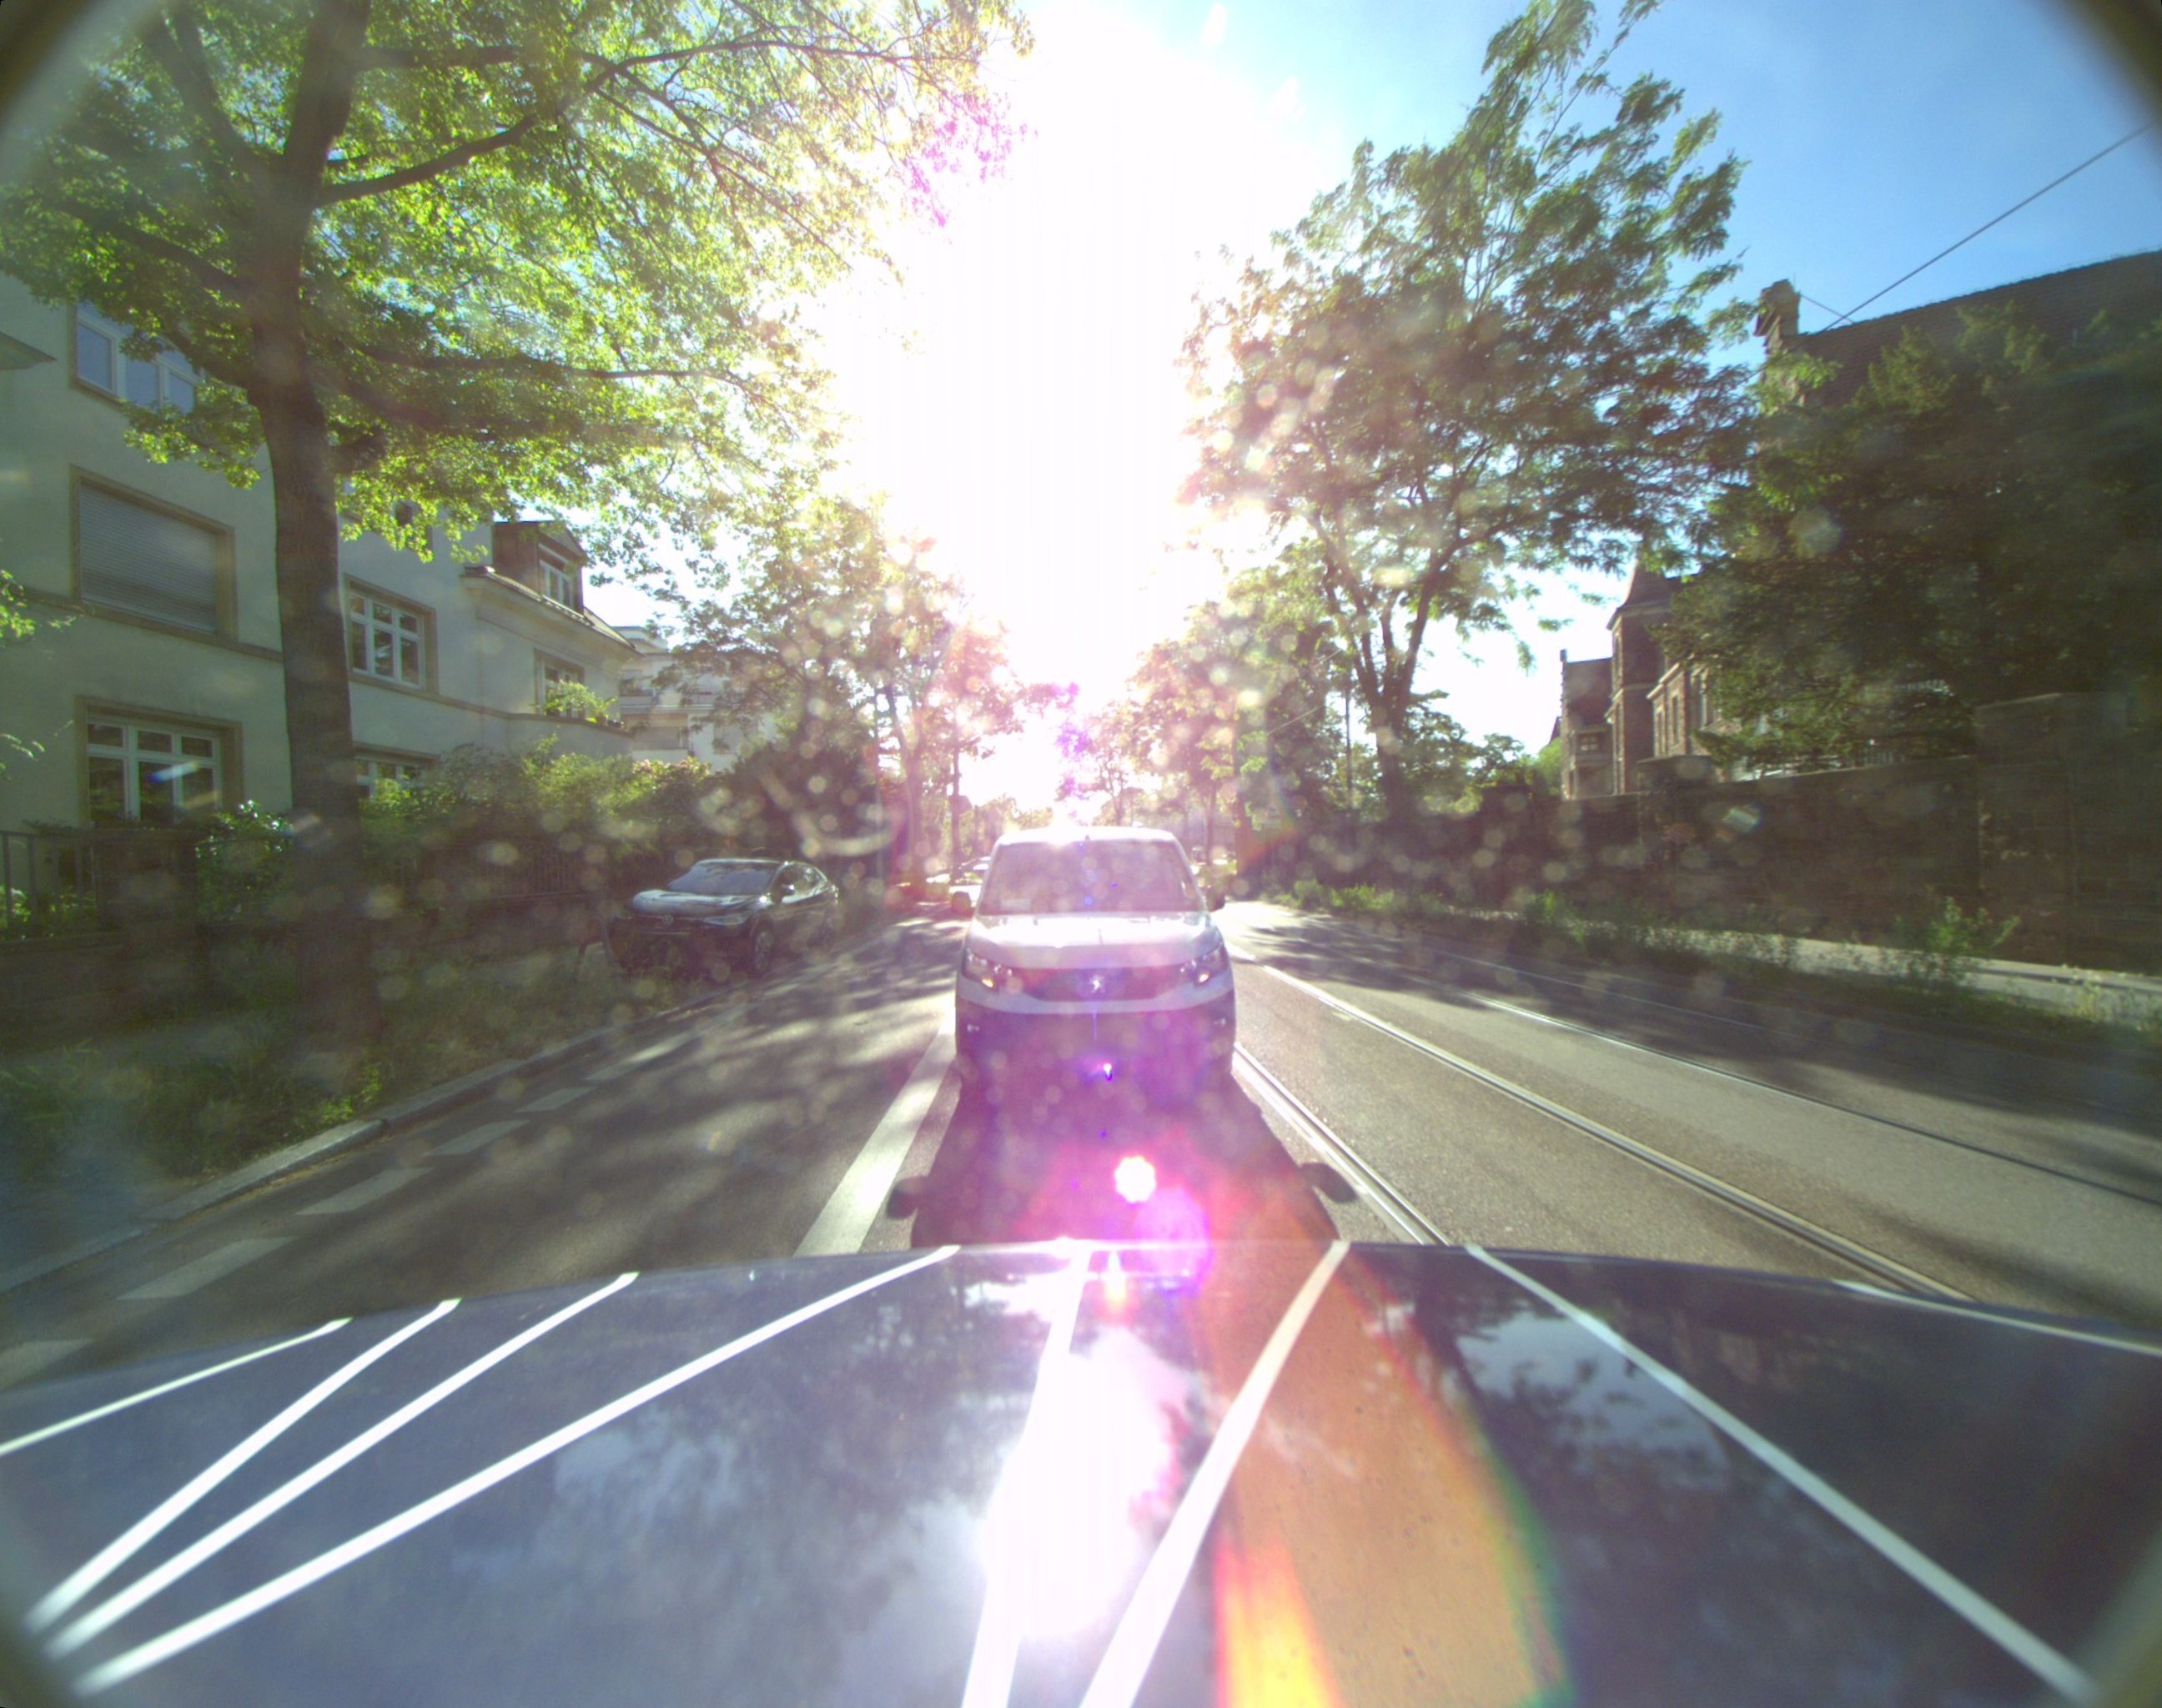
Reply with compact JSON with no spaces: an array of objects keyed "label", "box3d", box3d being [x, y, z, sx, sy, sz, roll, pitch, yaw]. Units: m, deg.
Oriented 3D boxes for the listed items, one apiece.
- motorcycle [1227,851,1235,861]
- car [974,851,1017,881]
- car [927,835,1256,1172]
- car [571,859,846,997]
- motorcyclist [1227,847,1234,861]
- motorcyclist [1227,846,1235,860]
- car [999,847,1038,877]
[{"label":"motorcycle","box3d":[16.078,0.224,81.528,0.610,1.087,1.858,-1,0,17]},{"label":"car","box3d":[-5.040,0.675,45.207,1.823,1.630,4.001,-2,0,4]},{"label":"car","box3d":[0.049,0.809,6.134,1.768,1.812,3.999,-1,0,0]},{"label":"car","box3d":[-5.257,0.941,11.533,1.999,1.665,4.380,1,-1,0]},{"label":"motorcyclist","box3d":[15.938,0.005,81.083,0.607,1.507,0.466,-1,1,17]},{"label":"motorcyclist","box3d":[16.089,-0.103,81.551,0.684,1.432,0.447,-1,1,18]},{"label":"car","box3d":[-4.194,0.497,51.889,2.129,1.884,4.746,-2,0,1]}]
